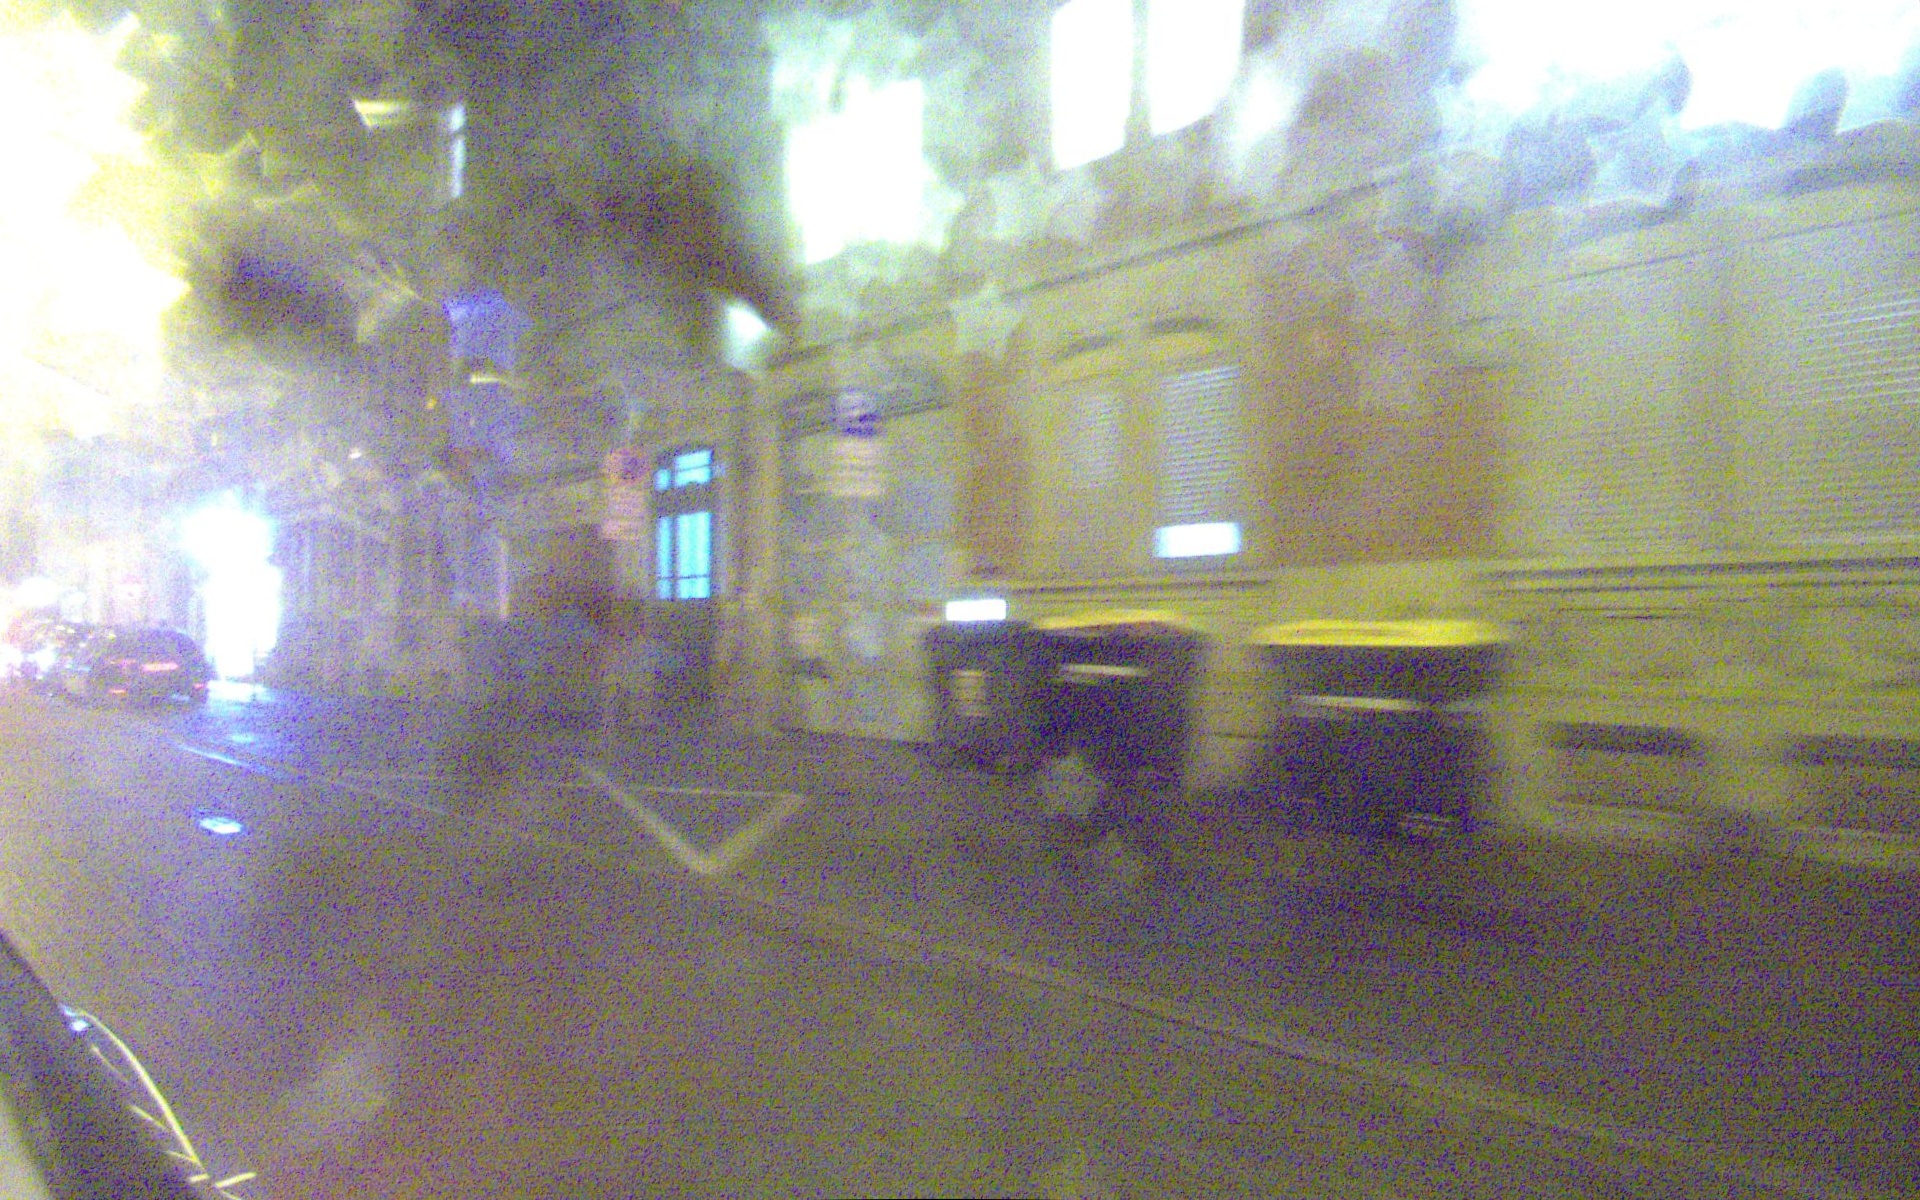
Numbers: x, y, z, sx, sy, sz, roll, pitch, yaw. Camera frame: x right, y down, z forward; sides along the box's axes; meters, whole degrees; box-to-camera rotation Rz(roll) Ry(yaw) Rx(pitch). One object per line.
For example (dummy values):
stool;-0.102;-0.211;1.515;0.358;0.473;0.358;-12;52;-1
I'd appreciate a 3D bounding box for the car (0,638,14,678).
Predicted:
car;-35.035;2.058;35.978;4.220;1.369;1.637;-2;-2;41

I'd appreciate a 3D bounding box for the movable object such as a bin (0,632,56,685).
movable object such as a bin;-27.425;1.698;29.687;1.151;1.470;1.248;-2;0;43

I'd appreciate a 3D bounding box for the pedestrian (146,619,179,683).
pedestrian;-22.660;1.447;28.767;0.549;1.794;0.632;-2;-2;41

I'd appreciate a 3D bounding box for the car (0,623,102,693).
car;-24.485;1.521;27.225;3.719;1.719;1.587;-2;-1;41

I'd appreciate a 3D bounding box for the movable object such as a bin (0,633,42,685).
movable object such as a bin;-28.426;1.766;30.415;1.107;1.470;1.152;-2;0;43

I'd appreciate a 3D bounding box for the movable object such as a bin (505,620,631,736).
movable object such as a bin;-5.287;1.007;13.635;1.248;1.430;1.128;-2;0;44

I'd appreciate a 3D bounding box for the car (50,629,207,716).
car;-16.265;1.346;19.723;4.313;1.466;1.669;-2;-1;41

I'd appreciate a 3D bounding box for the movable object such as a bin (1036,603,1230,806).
movable object such as a bin;1.363;0.765;8.003;1.133;1.430;0.964;-2;0;44

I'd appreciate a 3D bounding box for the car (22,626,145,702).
car;-20.312;1.445;23.400;4.023;1.564;1.587;-2;-1;41

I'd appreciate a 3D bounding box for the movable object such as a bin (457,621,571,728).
movable object such as a bin;-6.501;1.052;14.751;1.154;1.430;1.128;-2;0;43

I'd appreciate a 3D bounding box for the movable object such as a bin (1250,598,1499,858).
movable object such as a bin;2.586;0.720;6.328;1.133;1.409;0.964;-2;0;44

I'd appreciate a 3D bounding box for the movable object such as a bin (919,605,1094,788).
movable object such as a bin;0.404;0.784;8.810;1.133;1.430;0.964;-2;0;44
